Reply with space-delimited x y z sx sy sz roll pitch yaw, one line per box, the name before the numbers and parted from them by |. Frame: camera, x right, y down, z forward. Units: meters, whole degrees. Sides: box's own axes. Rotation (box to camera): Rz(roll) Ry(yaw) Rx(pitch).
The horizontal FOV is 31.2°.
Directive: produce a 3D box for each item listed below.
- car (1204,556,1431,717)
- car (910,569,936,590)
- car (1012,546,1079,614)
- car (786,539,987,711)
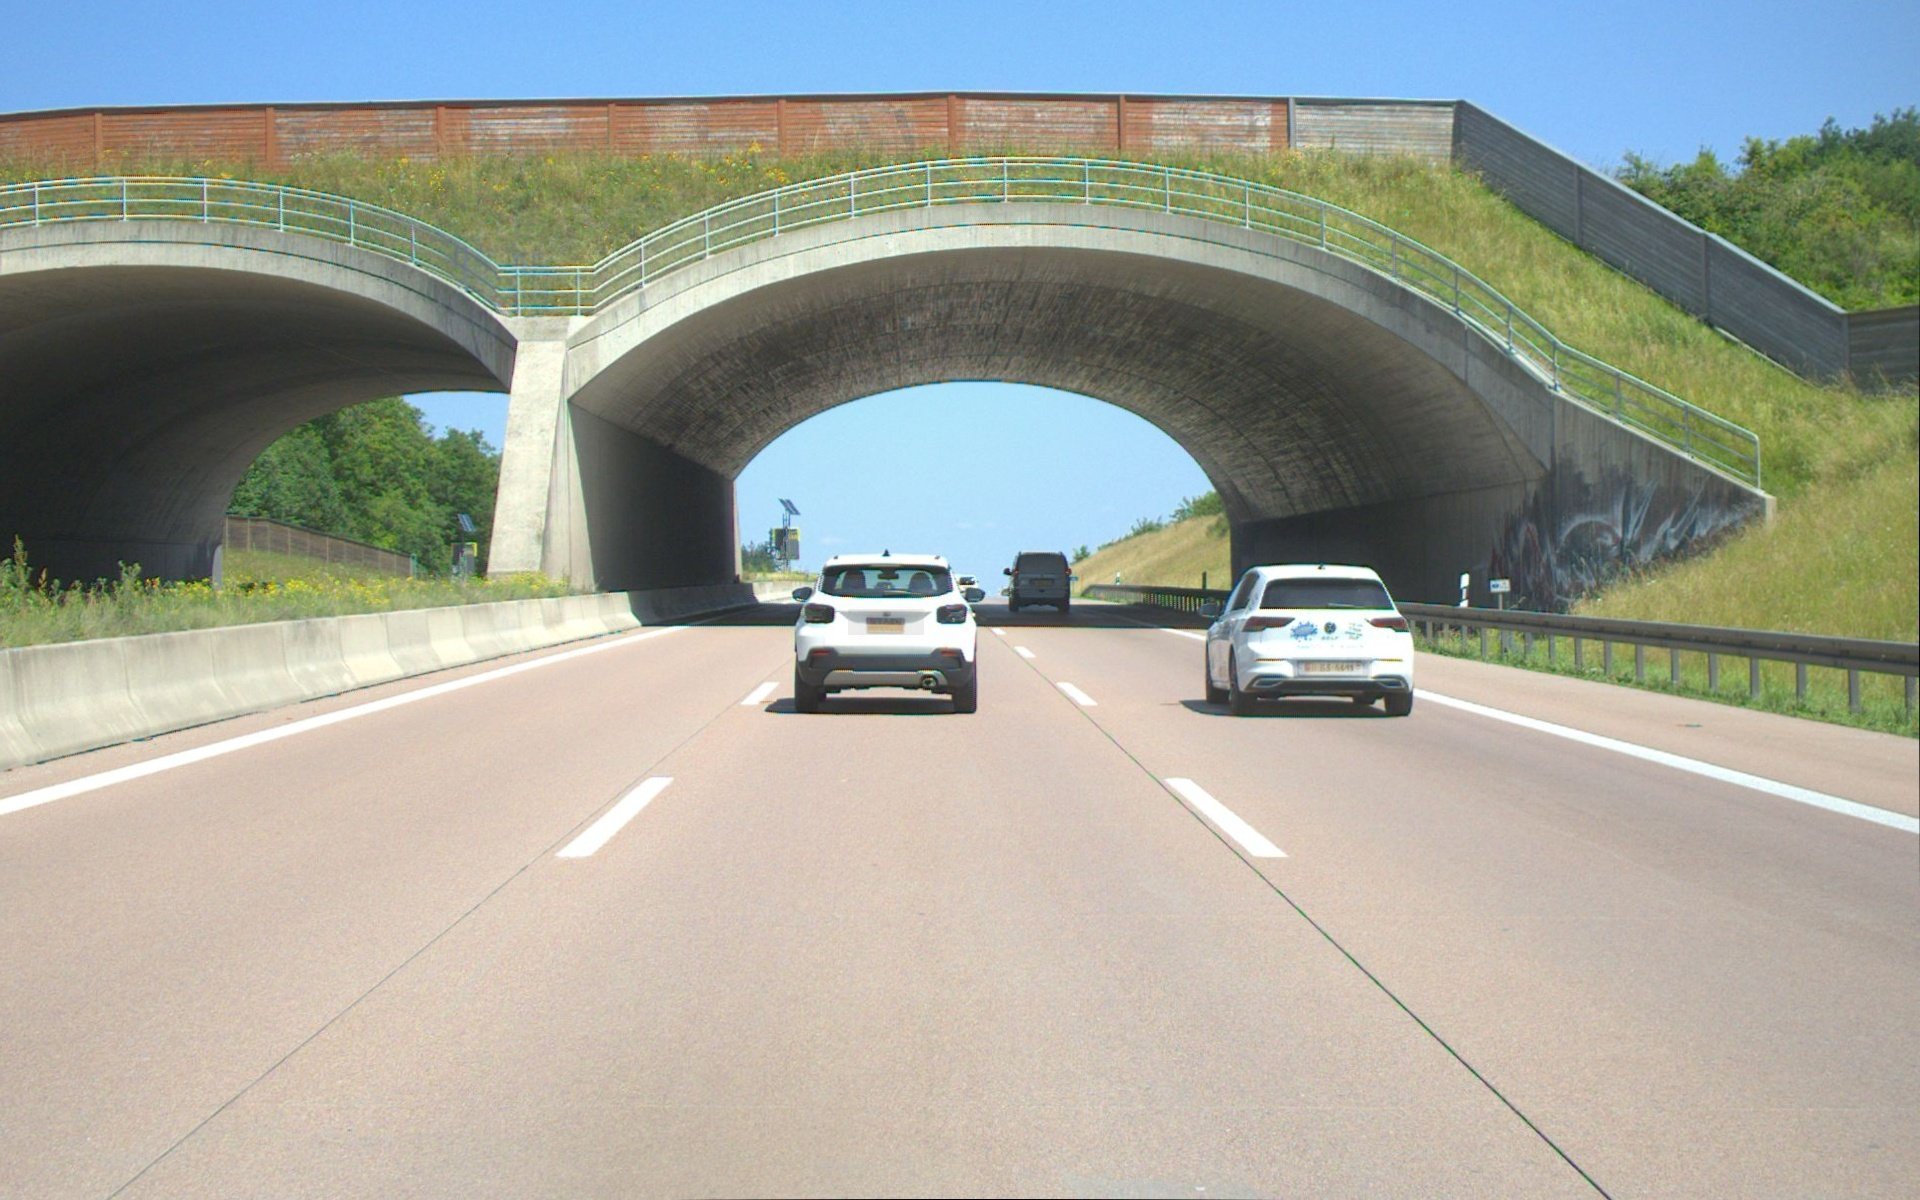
car | 3.491 0.319 34.190 1.891 1.393 4.000 1 2 1
car | -2.752 -1.555 255.769 1.891 1.458 4.000 1 1 0
car | 2.760 -0.667 110.817 2.110 2.046 4.000 1 2 1
car | -0.724 0.198 34.734 1.879 1.602 4.834 0 1 -1
